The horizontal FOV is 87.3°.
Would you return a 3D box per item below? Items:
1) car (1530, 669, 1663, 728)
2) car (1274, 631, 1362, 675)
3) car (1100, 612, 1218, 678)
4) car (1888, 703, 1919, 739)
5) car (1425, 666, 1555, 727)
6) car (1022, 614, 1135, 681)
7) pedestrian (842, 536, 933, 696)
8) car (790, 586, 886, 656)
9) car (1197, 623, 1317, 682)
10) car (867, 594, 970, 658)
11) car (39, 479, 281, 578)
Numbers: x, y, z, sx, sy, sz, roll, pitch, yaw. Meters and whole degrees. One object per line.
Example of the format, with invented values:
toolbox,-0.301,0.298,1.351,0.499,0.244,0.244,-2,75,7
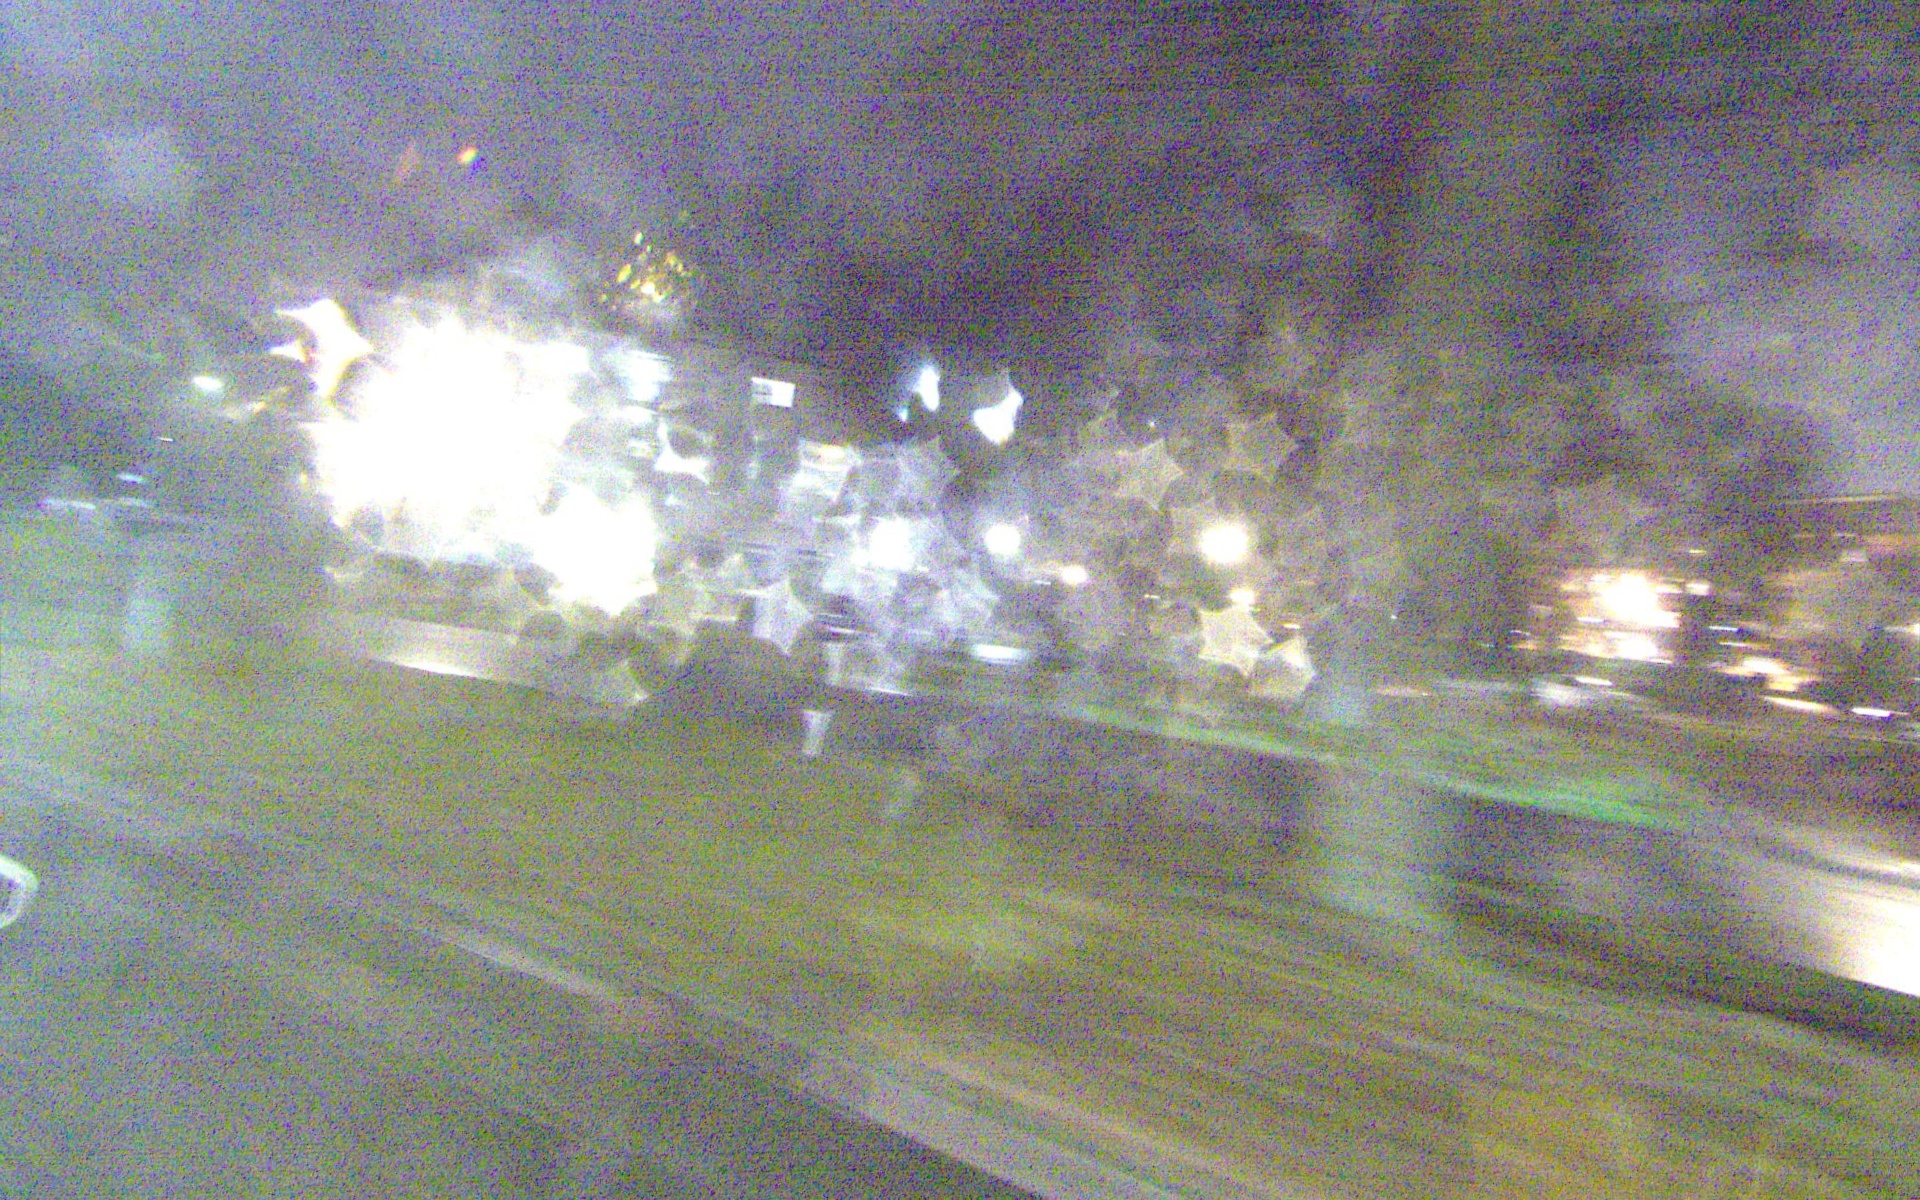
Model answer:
car,23.828,3.657,37.826,1.698,1.555,3.894,7,0,-20
car,16.856,2.486,47.573,1.698,1.555,3.894,7,0,-20
car,6.095,1.342,31.311,1.698,1.555,3.894,7,0,-20
car,46.321,5.926,46.326,1.698,1.555,4.973,7,0,-20
car,18.945,3.420,36.143,1.698,1.555,3.894,7,0,-20
car,3.479,1.393,30.369,1.698,1.515,3.894,7,0,-20
pedestrian,-0.930,0.201,12.844,0.648,1.925,0.721,7,1,-37
car,-3.455,0.534,27.886,1.698,1.515,3.894,7,0,-20
car,11.454,2.035,38.872,4.009,1.703,1.785,8,0,-18
car,-1.252,0.721,28.312,1.697,1.514,3.898,6,-3,-20
car,-18.992,-1.647,24.078,3.935,1.704,1.914,8,0,-11
